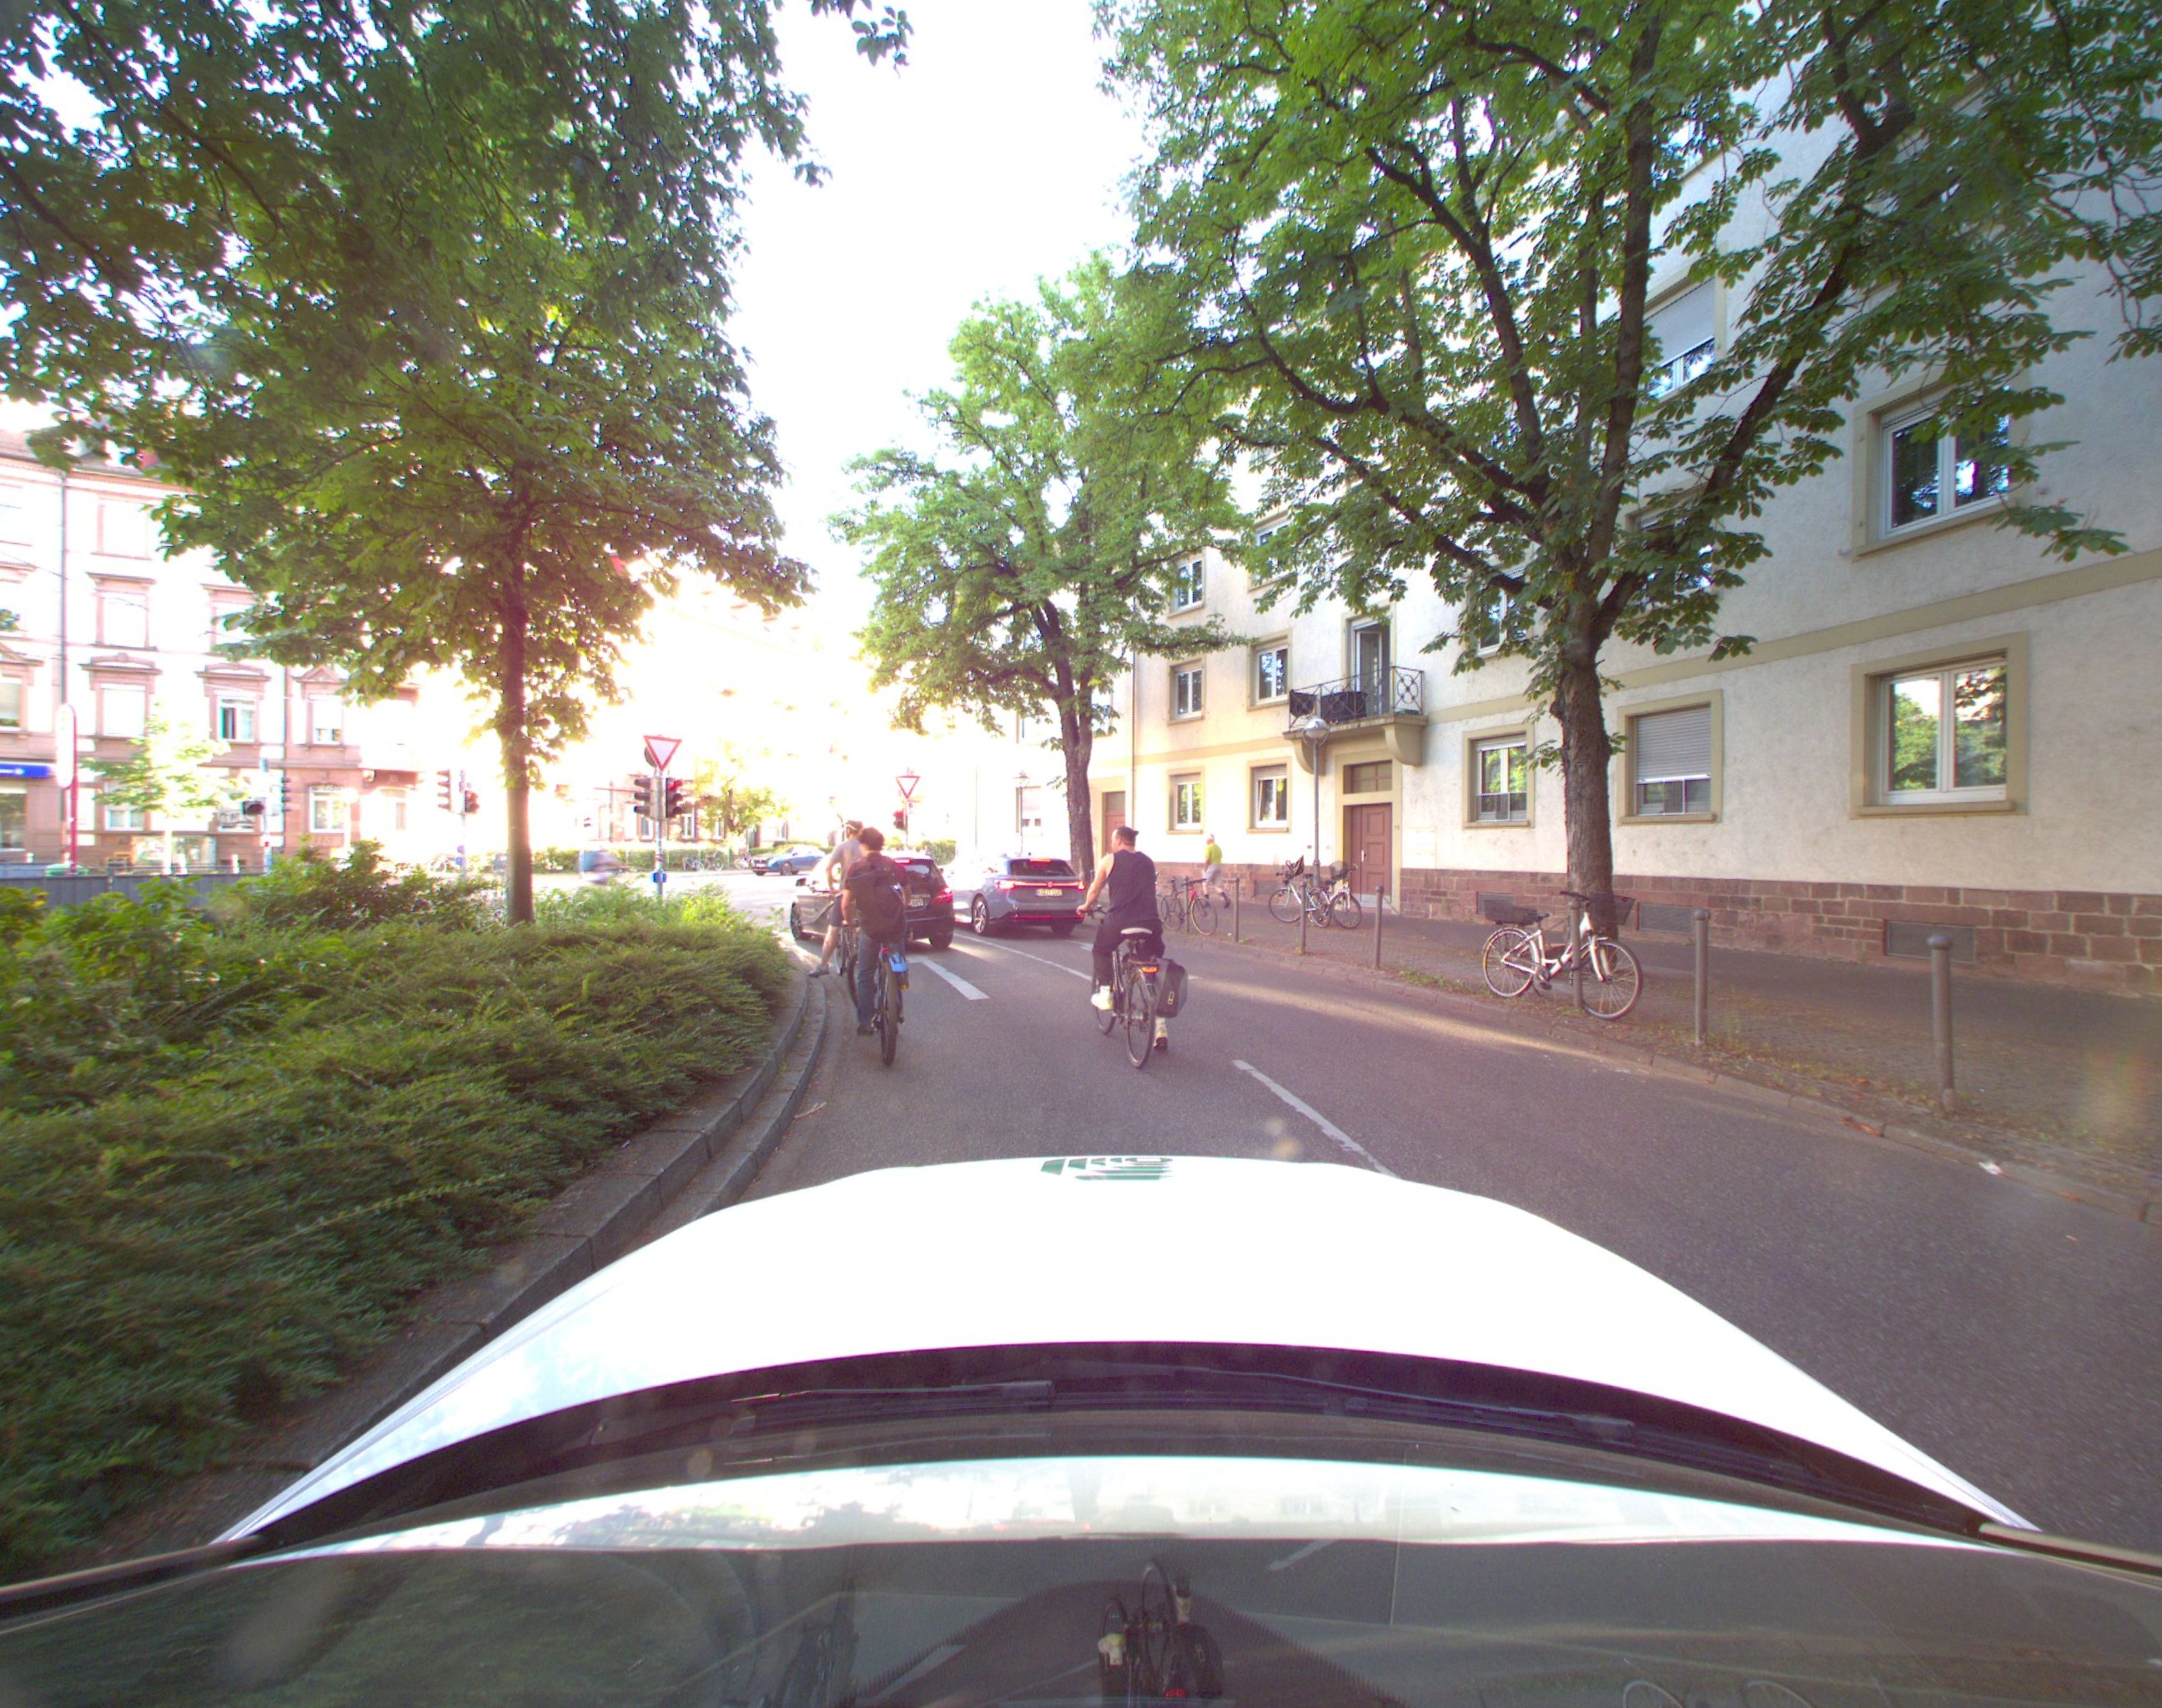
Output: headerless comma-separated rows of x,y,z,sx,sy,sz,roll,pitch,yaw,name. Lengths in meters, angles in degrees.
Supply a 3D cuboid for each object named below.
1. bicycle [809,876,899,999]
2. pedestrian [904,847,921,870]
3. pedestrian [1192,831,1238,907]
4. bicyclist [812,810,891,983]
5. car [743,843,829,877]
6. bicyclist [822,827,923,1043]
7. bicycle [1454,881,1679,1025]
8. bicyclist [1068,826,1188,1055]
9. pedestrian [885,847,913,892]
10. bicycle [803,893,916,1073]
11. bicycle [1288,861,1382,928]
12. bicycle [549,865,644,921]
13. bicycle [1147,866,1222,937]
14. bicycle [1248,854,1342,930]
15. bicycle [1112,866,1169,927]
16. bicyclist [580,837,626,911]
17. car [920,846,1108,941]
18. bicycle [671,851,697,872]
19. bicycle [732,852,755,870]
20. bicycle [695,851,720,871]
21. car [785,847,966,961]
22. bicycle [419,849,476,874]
-2.705,0.887,9.542,0.813,1.184,2.211,0,0,-21,bicycle
-12.584,0.323,60.805,0.703,1.664,0.904,4,2,36,pedestrian
3.174,0.339,19.314,0.646,1.727,0.881,-3,2,-25,pedestrian
-2.725,0.472,9.618,0.797,1.913,0.938,1,0,-21,bicyclist
-15.765,0.288,43.776,1.926,1.650,4.432,2,1,19,car
-1.624,0.589,6.461,0.707,1.573,0.953,1,0,-12,bicyclist
4.475,0.844,7.703,0.514,1.095,1.962,-2,1,-18,bicycle
0.342,0.619,6.447,0.687,1.656,0.985,-1,0,-13,bicyclist
-6.932,0.594,31.034,0.904,1.635,0.721,2,1,-19,pedestrian
-1.706,0.919,6.538,0.717,1.107,1.959,1,0,-11,bicycle
4.648,0.707,15.054,0.669,1.107,1.955,1,0,-17,bicycle
-10.536,0.813,17.804,0.530,1.107,1.975,0,0,15,bicycle
1.833,0.814,14.634,0.528,1.107,1.728,-3,2,-22,bicycle
3.907,0.654,15.041,0.719,1.277,1.954,-1,1,-19,bicycle
1.159,0.813,16.223,0.482,1.063,1.625,-2,2,-20,bicycle
-10.506,0.425,17.906,0.525,1.598,0.677,0,0,16,bicyclist
-1.488,0.671,16.067,1.982,1.585,4.433,2,-1,-29,car
-21.678,0.390,44.504,0.438,1.107,1.240,1,0,25,bicycle
-19.968,0.425,48.181,0.438,1.038,1.240,1,1,24,bicycle
-20.989,0.392,45.767,0.438,1.107,1.241,1,1,25,bicycle
-3.527,0.688,13.471,1.802,1.542,3.821,-2,1,-32,car
-28.281,0.343,36.389,1.976,1.107,0.438,2,-1,-38,bicycle
